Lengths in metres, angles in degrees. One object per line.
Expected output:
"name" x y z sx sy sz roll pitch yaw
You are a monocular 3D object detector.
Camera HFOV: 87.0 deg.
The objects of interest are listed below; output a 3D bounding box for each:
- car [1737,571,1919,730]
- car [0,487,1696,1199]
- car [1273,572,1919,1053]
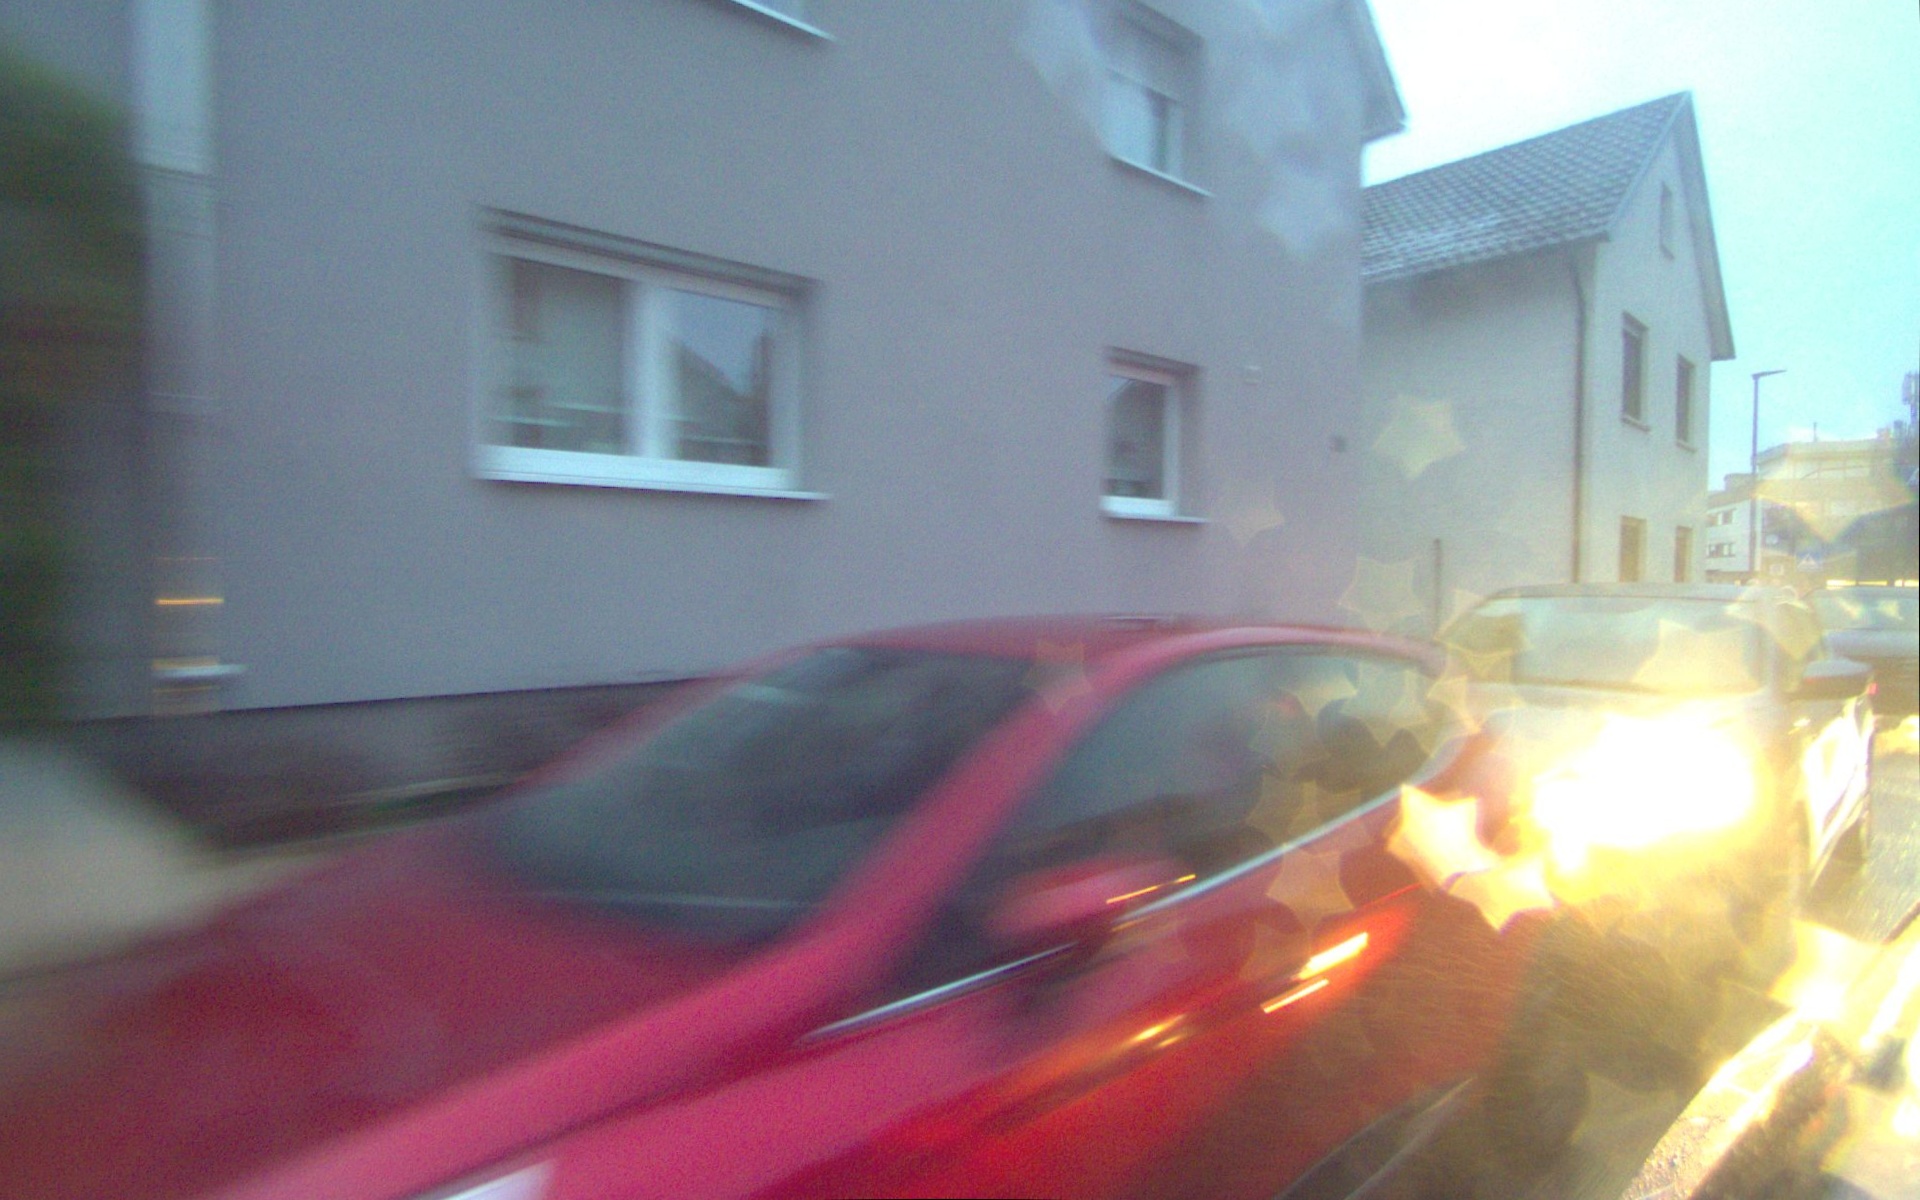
"car" 11.352 0.519 12.494 4.162 1.669 1.990 0 1 -41
"car" 0.209 0.613 2.602 4.227 1.424 1.739 0 1 -40
"car" 3.646 0.637 5.336 4.228 1.558 1.814 -1 2 -40
